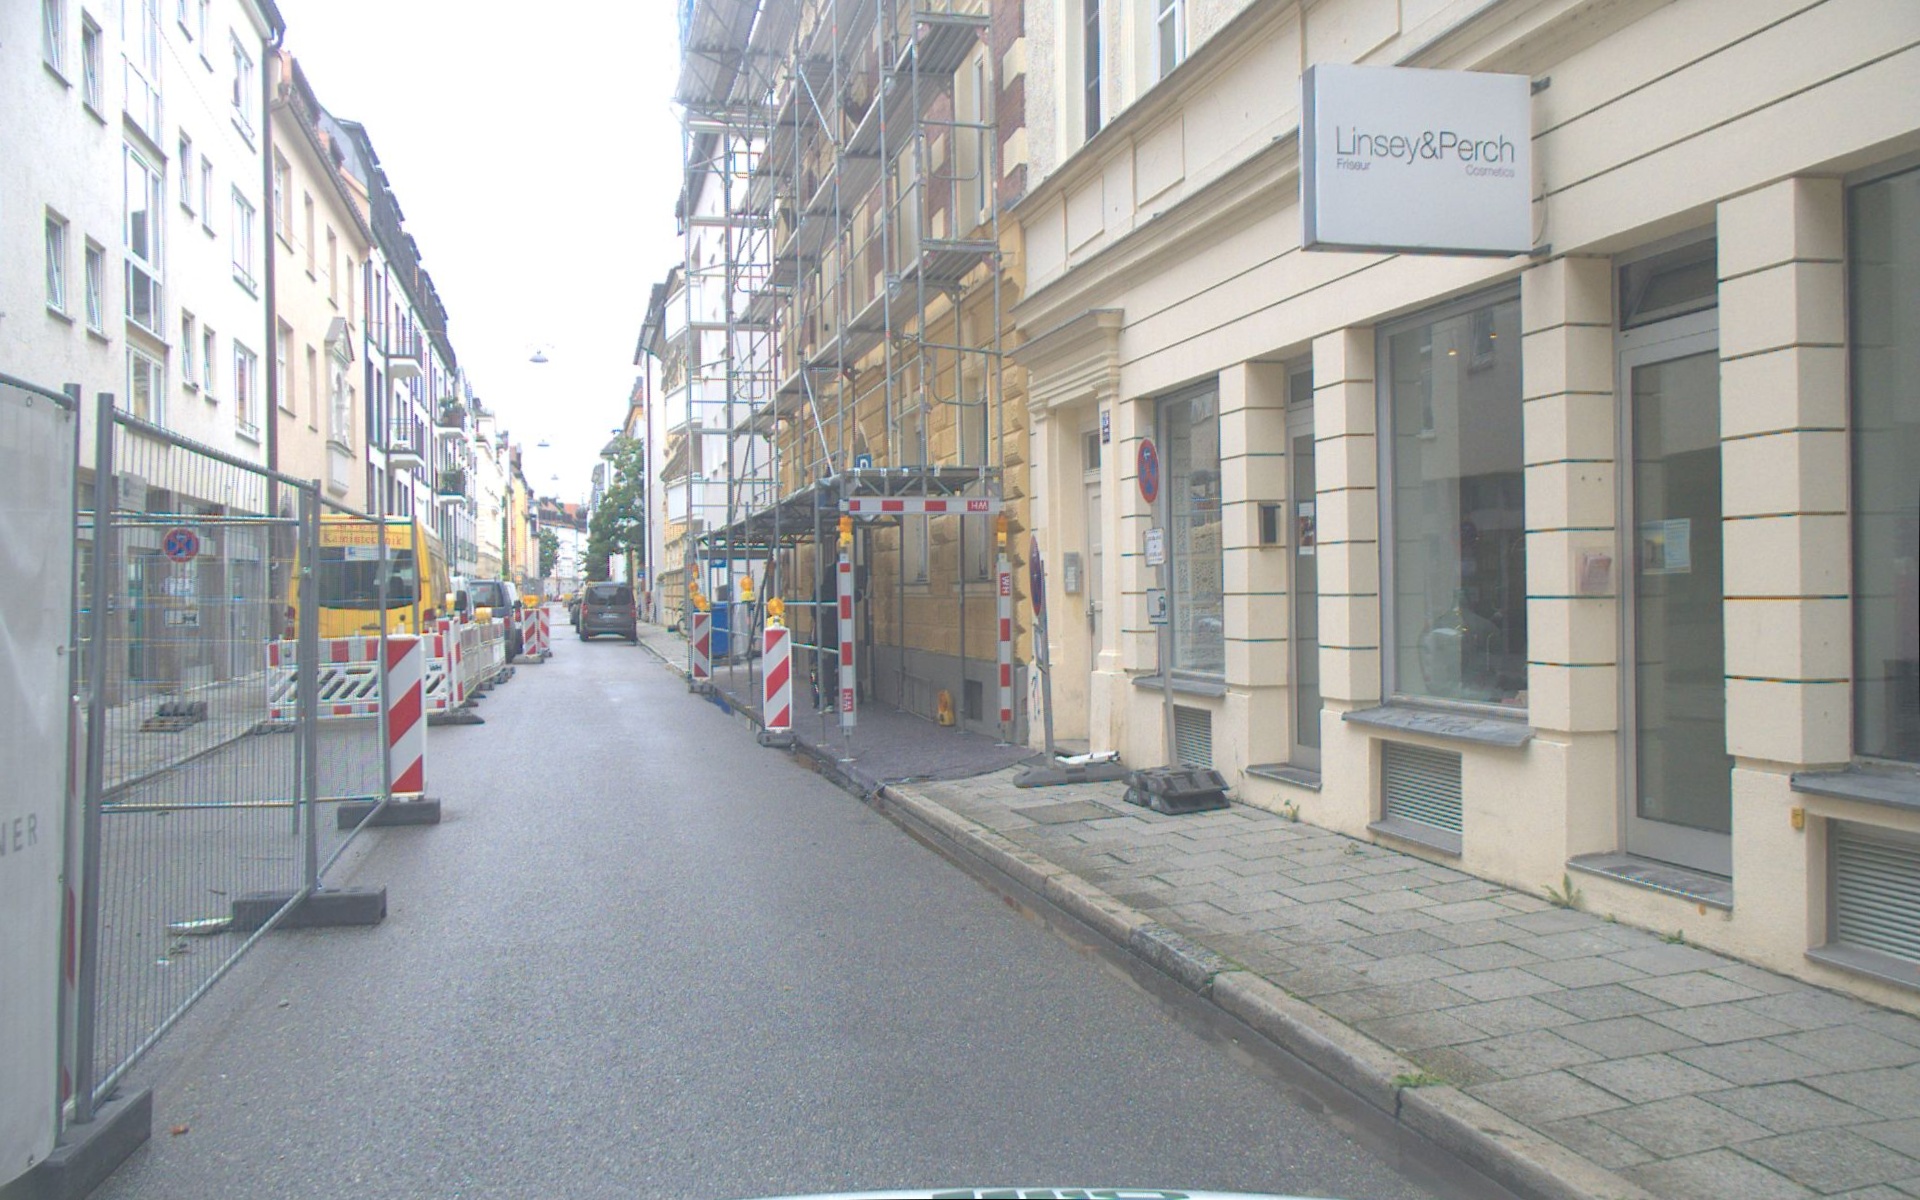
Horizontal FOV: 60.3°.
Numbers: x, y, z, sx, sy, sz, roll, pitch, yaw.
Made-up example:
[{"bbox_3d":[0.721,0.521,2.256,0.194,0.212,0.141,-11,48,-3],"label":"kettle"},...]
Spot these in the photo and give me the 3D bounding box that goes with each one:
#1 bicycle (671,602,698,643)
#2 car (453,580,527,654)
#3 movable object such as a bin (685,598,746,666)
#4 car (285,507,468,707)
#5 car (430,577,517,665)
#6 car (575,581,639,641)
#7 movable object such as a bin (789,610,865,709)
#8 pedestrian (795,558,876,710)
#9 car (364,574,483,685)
[{"bbox_3d":[-8.551,0.683,51.279,0.627,1.173,1.909,-3,2,-13],"label":"bicycle"},{"bbox_3d":[-13.239,0.451,46.445,1.874,1.930,5.065,-1,0,-17],"label":"car"},{"bbox_3d":[-5.327,0.682,36.148,1.064,1.369,1.317,-4,1,-1],"label":"movable object such as a bin"},{"bbox_3d":[-8.758,0.074,25.363,1.960,2.623,6.711,-1,0,-14],"label":"car"},{"bbox_3d":[-11.843,0.471,40.543,1.698,1.930,5.489,-3,0,-14],"label":"car"},{"bbox_3d":[-12.240,0.358,57.172,1.960,1.966,4.642,1,0,-14],"label":"car"},{"bbox_3d":[-1.706,0.745,21.140,0.717,1.160,0.984,-5,1,-15],"label":"movable object such as a bin"},{"bbox_3d":[-1.554,0.412,20.481,0.717,1.782,0.984,-4,1,-14],"label":"pedestrian"},{"bbox_3d":[-10.465,0.540,32.555,1.885,1.930,4.772,-3,0,-15],"label":"car"}]
